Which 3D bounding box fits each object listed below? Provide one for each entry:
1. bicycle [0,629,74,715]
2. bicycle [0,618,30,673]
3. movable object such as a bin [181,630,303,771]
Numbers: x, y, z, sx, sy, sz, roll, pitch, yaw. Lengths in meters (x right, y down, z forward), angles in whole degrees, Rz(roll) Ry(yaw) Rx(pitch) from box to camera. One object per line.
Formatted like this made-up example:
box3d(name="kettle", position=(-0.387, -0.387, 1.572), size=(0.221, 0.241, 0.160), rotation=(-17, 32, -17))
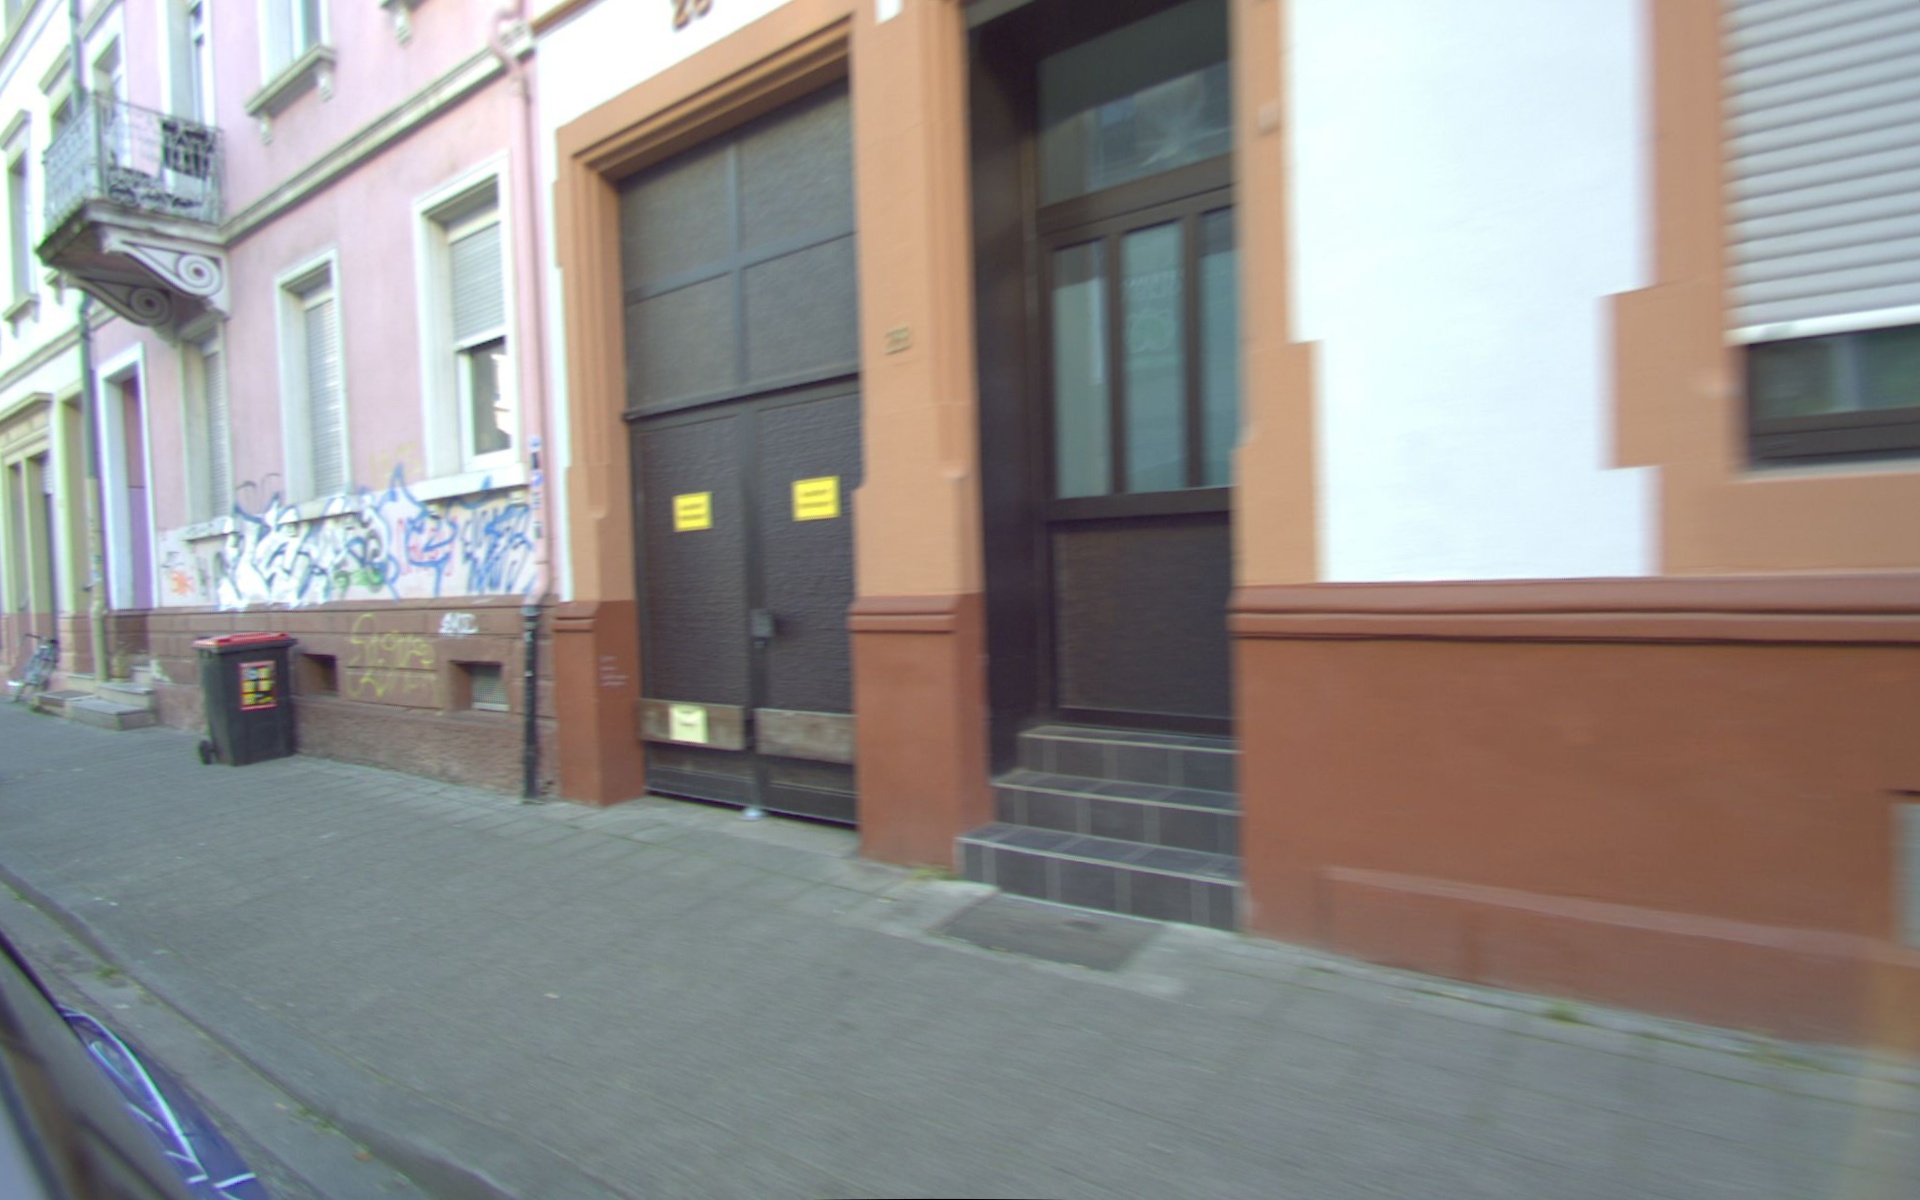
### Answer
box3d(name="bicycle", position=(-12.676, 0.949, 13.722), size=(1.815, 1.030, 0.616), rotation=(0, 3, 37))
box3d(name="bicycle", position=(-24.991, 1.196, 25.275), size=(0.927, 1.369, 2.453), rotation=(-1, 1, 37))
box3d(name="movable object such as a bin", position=(-5.830, 0.788, 8.220), size=(0.595, 1.043, 0.600), rotation=(-1, 2, 35))
